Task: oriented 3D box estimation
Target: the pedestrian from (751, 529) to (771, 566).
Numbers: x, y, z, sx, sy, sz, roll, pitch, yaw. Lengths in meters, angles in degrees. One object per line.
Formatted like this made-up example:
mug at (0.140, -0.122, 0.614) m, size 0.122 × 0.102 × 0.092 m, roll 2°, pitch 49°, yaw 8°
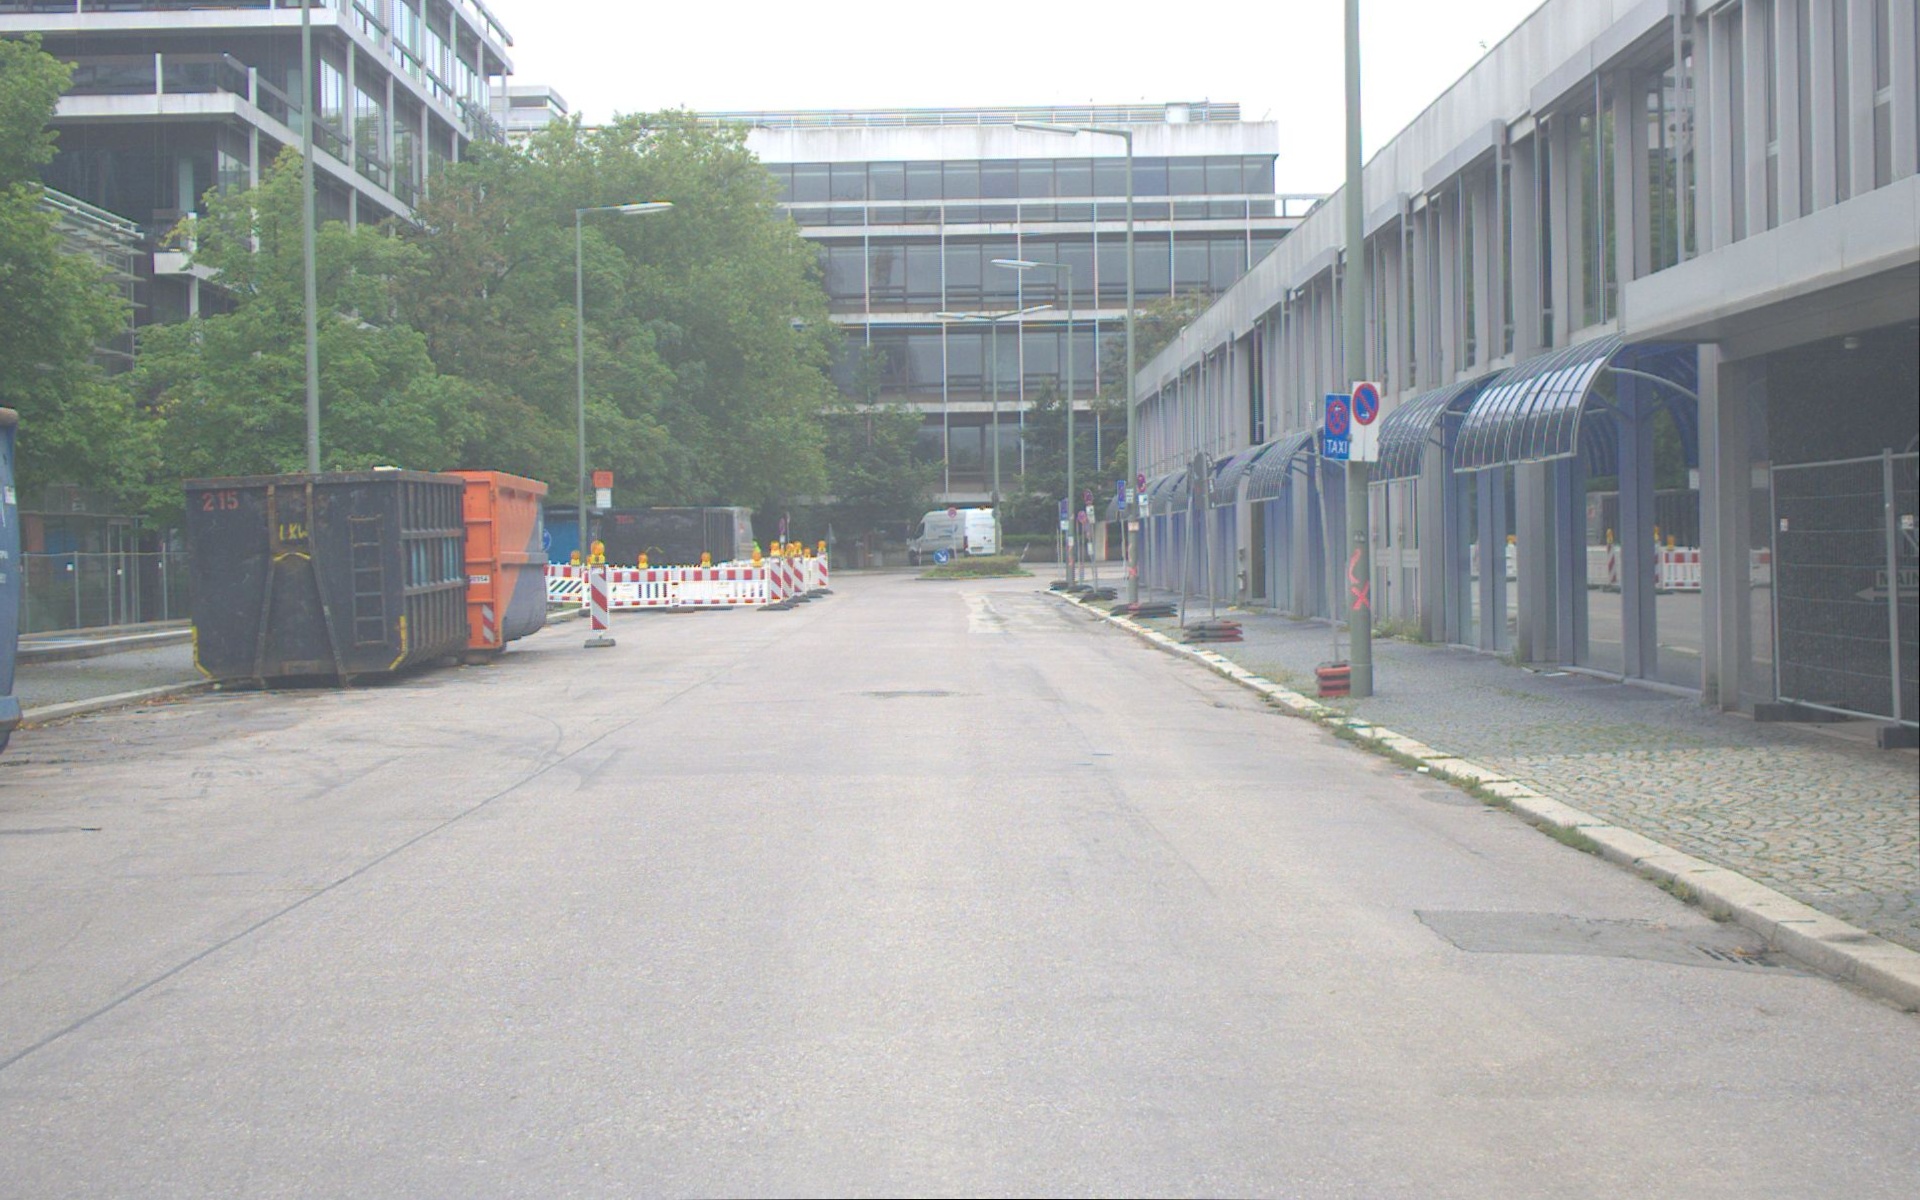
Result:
pedestrian at (-9.186, -2.425, 159.026) m, size 0.741 × 1.671 × 0.682 m, roll -1°, pitch 1°, yaw -19°

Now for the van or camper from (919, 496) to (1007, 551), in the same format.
van or camper at (0.106, -3.567, 160.115) m, size 2.085 × 2.483 × 5.068 m, roll -2°, pitch 2°, yaw -25°
